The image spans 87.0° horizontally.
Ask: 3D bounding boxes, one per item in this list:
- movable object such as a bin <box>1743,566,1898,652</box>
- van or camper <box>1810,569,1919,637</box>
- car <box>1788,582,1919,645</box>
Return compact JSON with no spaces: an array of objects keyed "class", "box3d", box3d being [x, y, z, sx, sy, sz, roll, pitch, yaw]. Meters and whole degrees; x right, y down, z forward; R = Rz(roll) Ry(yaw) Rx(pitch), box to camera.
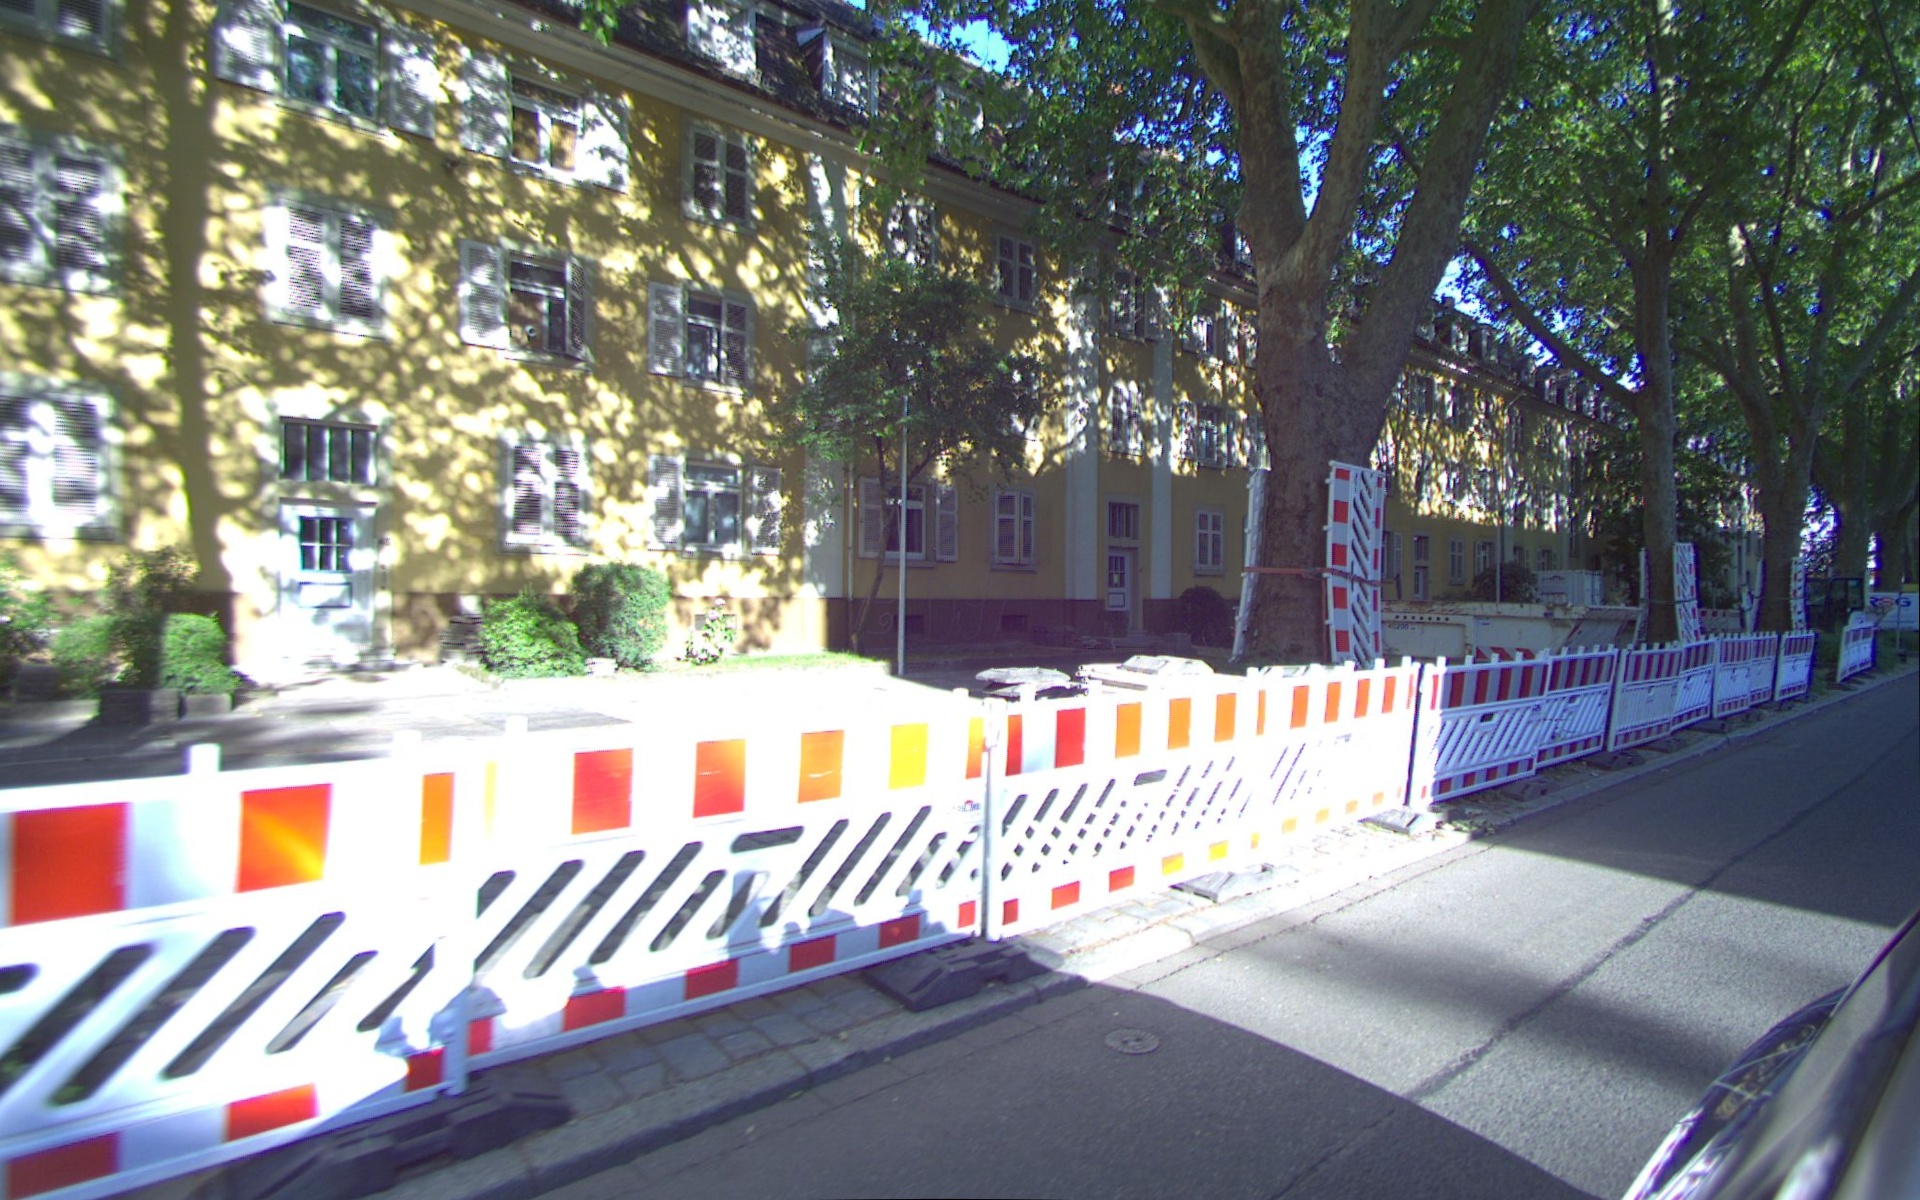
[{"class":"movable object such as a bin","box3d":[23.770,0.238,28.005,3.210,2.298,1.488,0,0,-7]},{"class":"van or camper","box3d":[38.354,0.102,40.812,2.229,2.662,5.940,-1,2,-38]},{"class":"car","box3d":[31.377,0.426,34.294,2.027,2.038,4.844,1,1,-41]}]
